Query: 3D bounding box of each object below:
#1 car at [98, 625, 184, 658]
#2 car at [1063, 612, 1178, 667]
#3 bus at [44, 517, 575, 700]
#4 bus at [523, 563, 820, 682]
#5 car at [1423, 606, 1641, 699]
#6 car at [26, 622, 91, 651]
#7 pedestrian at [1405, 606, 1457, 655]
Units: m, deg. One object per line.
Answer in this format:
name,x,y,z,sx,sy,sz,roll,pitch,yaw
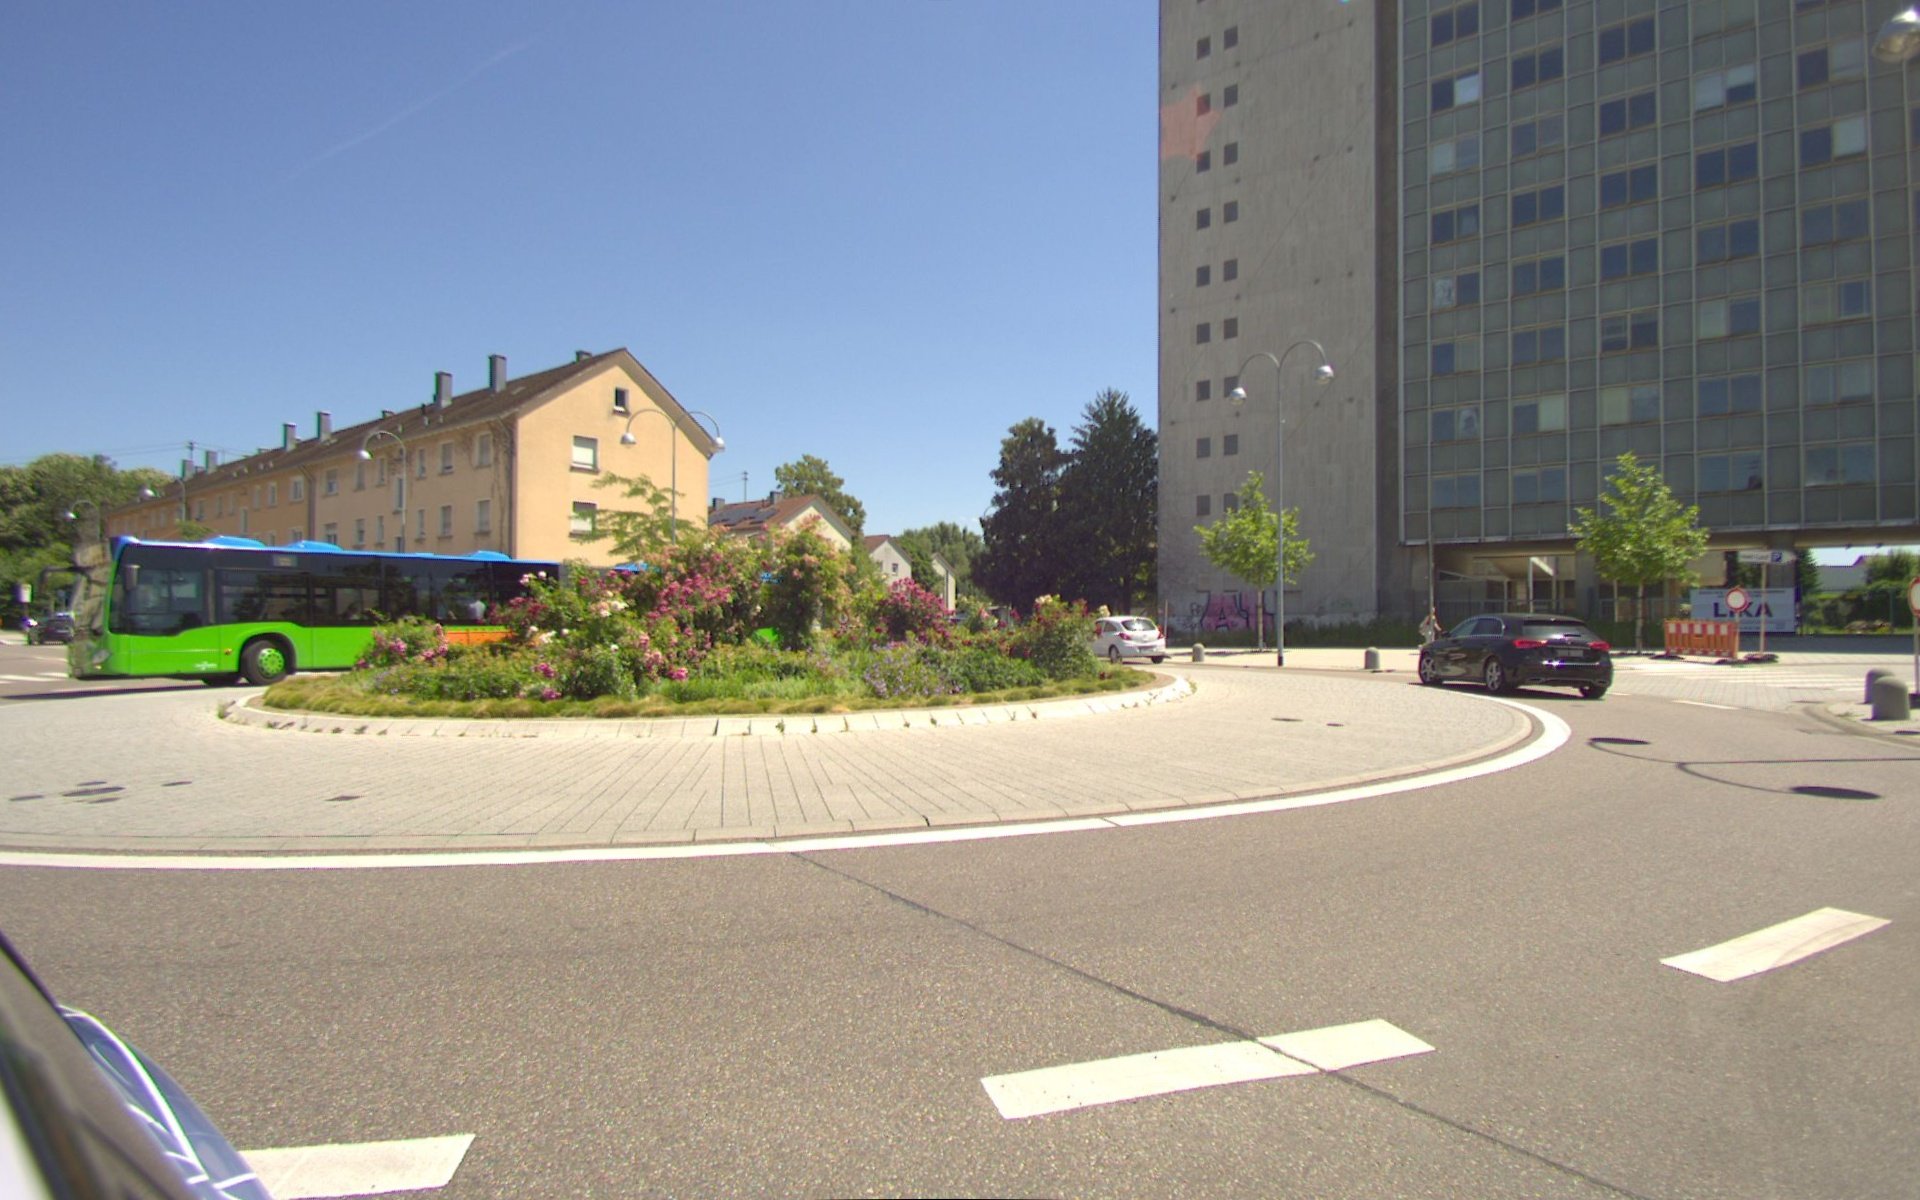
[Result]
car,-37.426,1.873,46.239,4.078,1.431,1.977,-1,-1,34
car,5.042,1.216,32.371,1.760,1.609,3.933,0,-1,-24
bus,-14.315,0.199,23.554,2.957,3.350,9.963,-5,-2,35
bus,-8.465,0.612,31.058,2.826,3.134,8.811,-3,-1,37
car,10.106,0.904,18.277,1.935,1.438,3.993,1,-2,5
car,-50.184,1.998,56.297,4.554,1.518,1.840,-1,0,37
pedestrian,15.844,1.029,34.053,0.933,1.597,1.286,1,-2,-33
